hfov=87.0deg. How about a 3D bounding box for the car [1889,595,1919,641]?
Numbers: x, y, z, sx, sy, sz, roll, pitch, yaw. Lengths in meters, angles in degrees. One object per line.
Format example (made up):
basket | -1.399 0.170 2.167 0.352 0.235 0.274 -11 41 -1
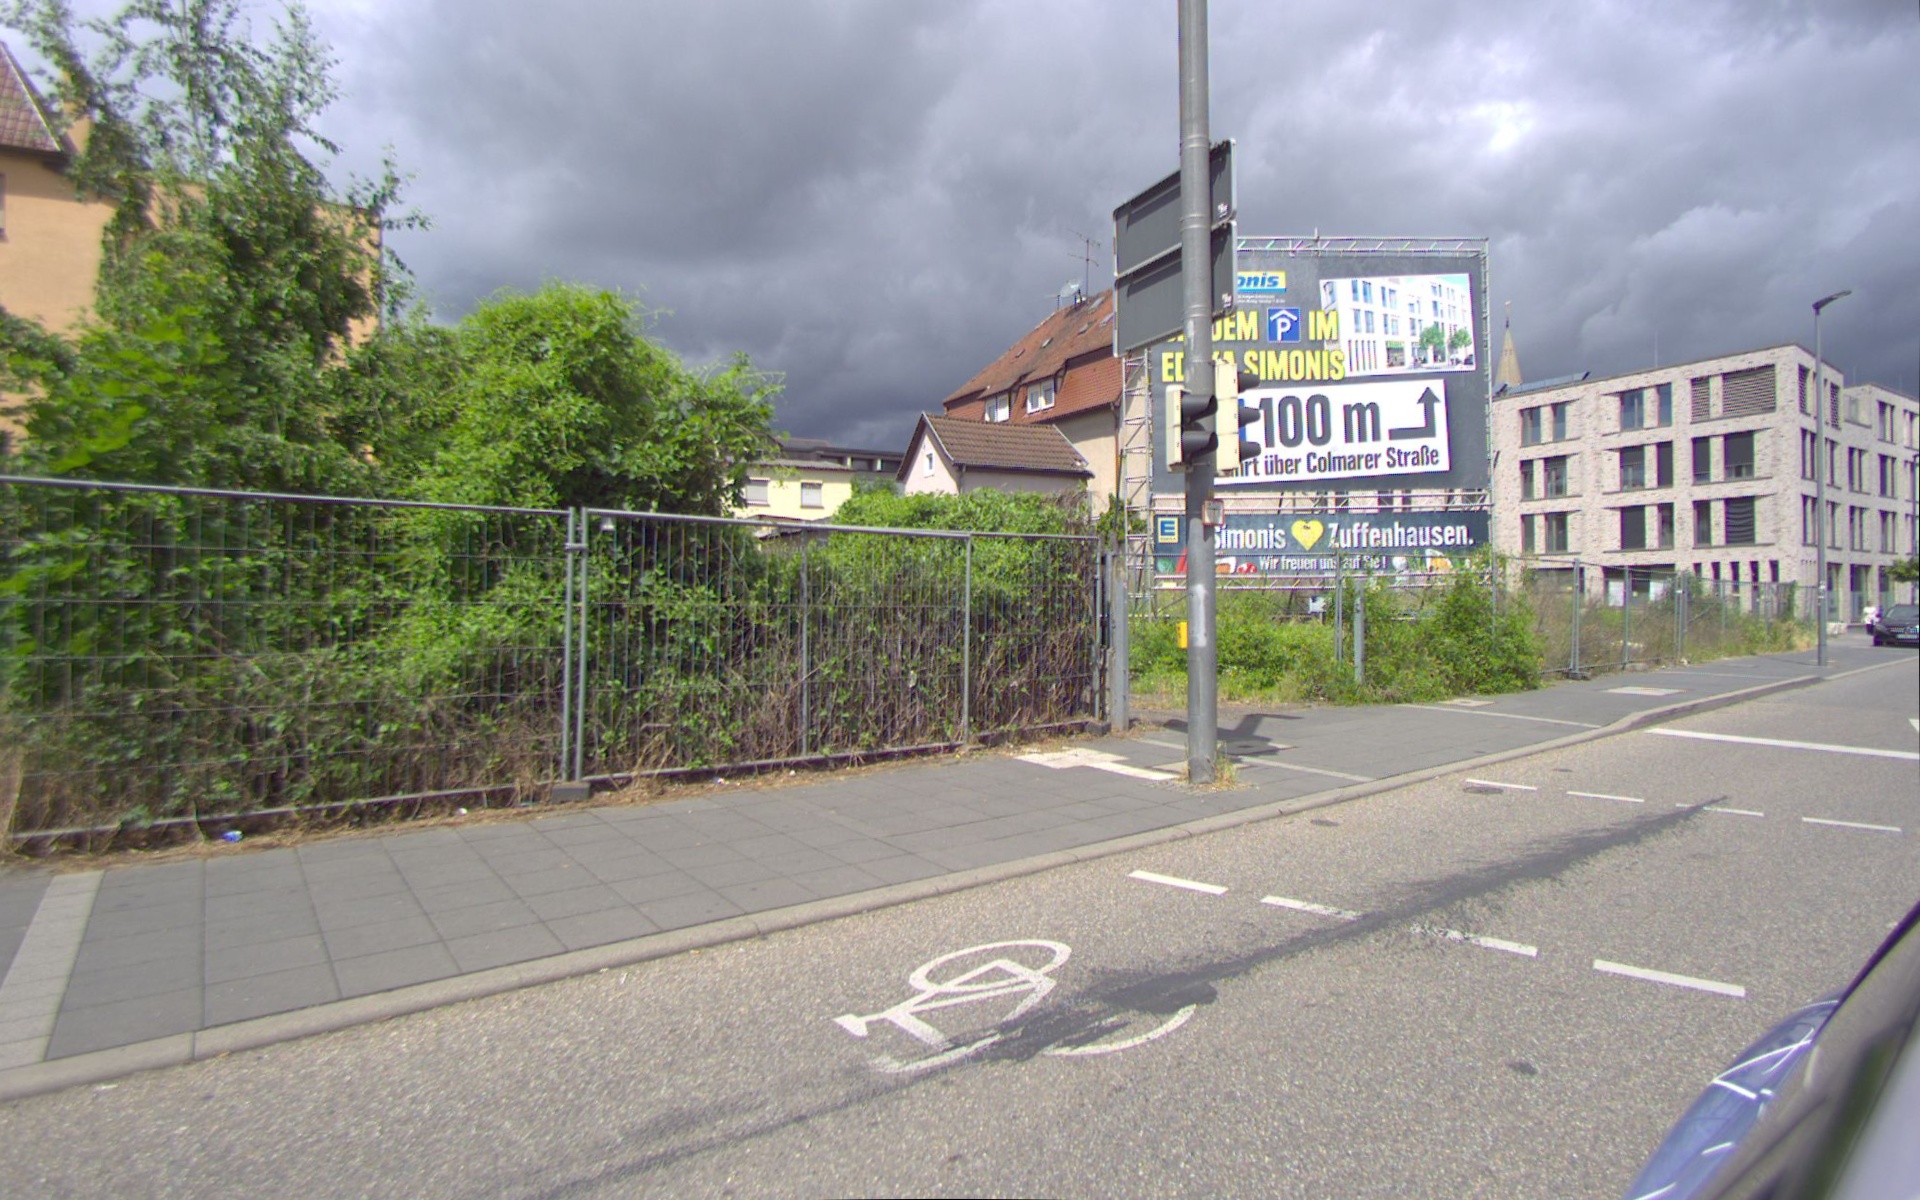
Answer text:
car | 32.741 0.600 34.017 3.726 1.441 1.678 -1 2 -39

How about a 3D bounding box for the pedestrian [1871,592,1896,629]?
pedestrian | 39.385 0.435 43.155 0.769 1.531 0.673 1 0 -41
